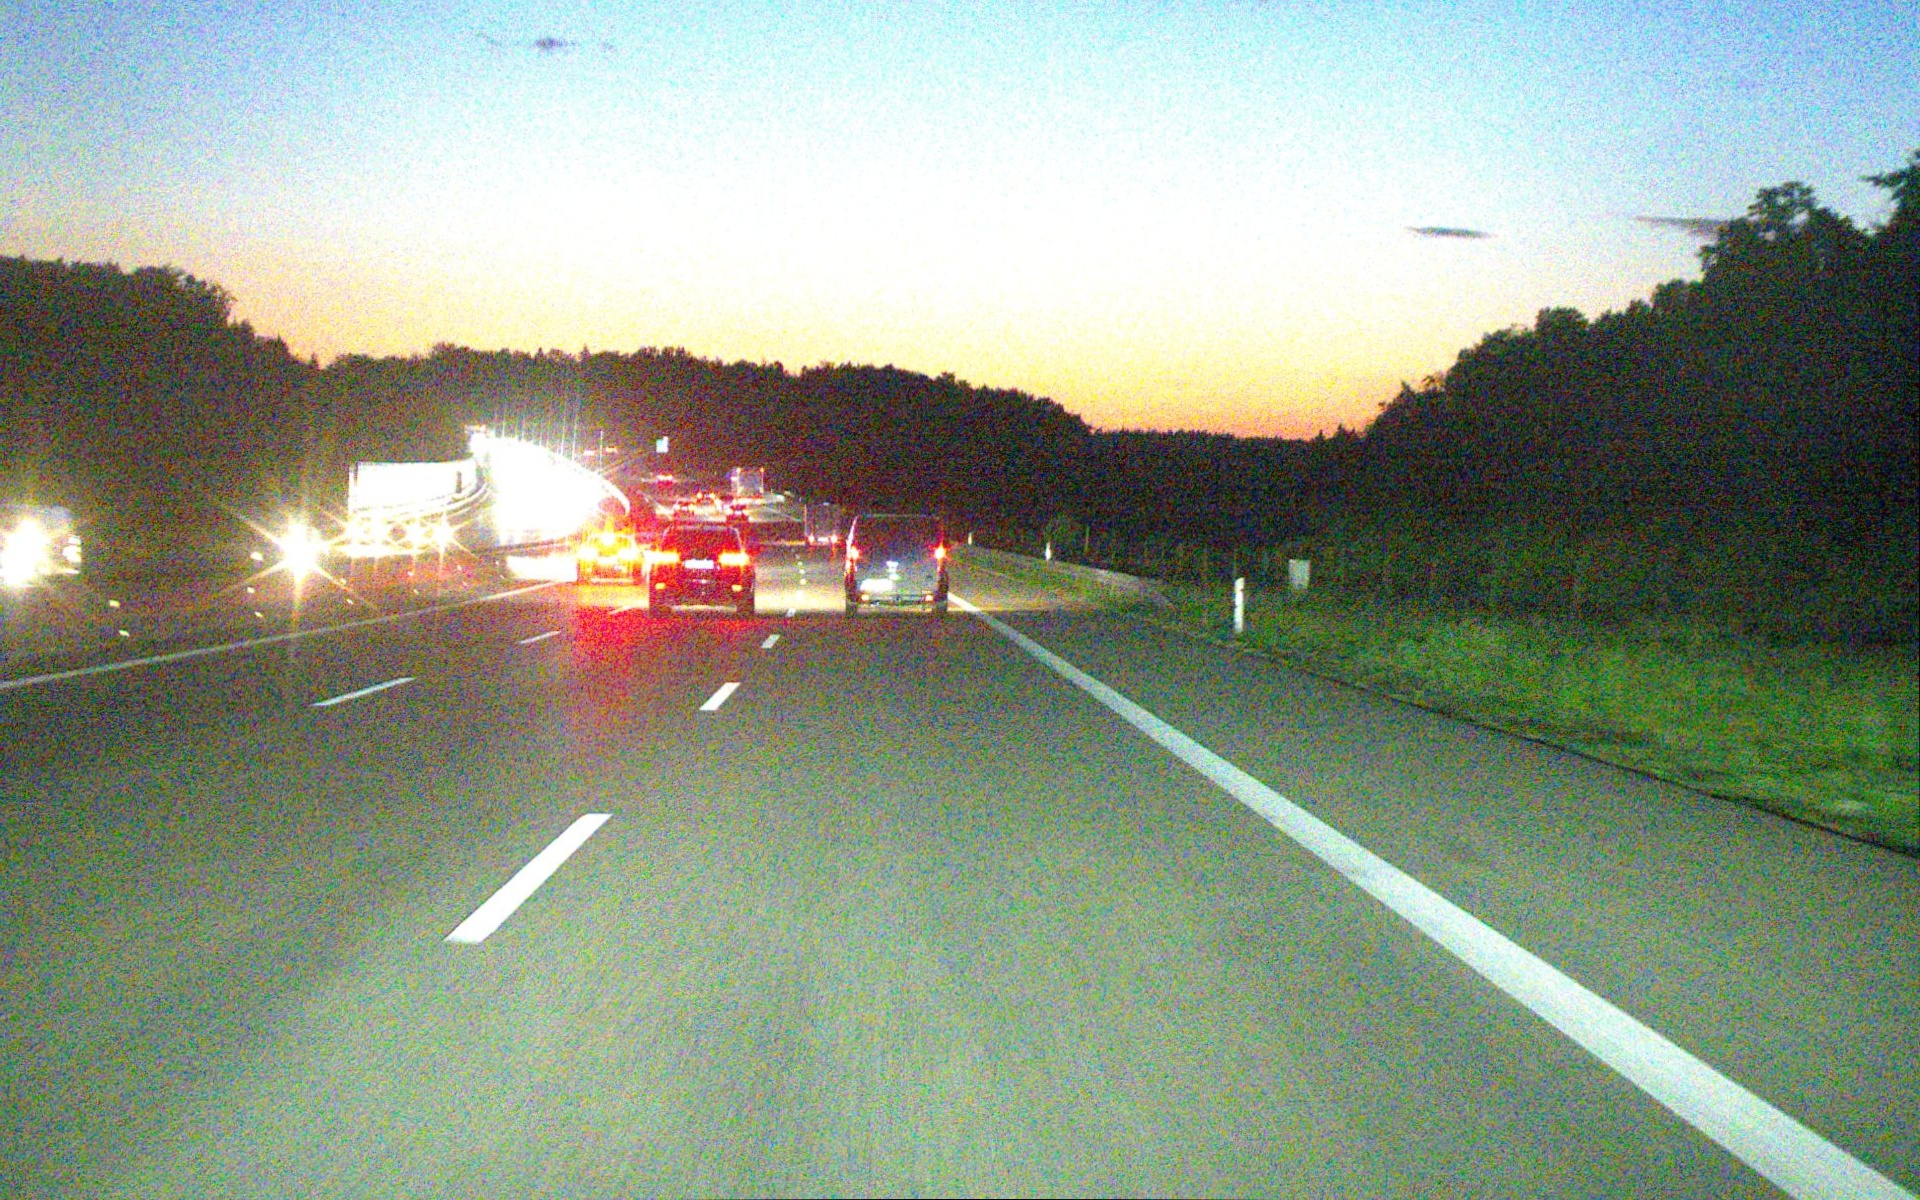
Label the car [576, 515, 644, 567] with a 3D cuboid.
[{"bbox_3d":[-9.928,-1.666,97.760,1.549,1.426,5.515,0,1,-2],"label":"car"}]

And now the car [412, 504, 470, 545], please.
[{"bbox_3d":[-24.457,-3.552,162.264,2.104,1.879,4.659,1,1,-1],"label":"car"}]

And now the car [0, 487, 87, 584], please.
[{"bbox_3d":[-19.257,-1.333,69.757,2.145,1.879,5.425,1,1,-5],"label":"car"}]

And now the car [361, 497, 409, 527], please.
[{"bbox_3d":[-29.245,-4.463,174.979,1.774,1.424,4.659,1,1,-1],"label":"car"}]

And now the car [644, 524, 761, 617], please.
[{"bbox_3d":[-4.937,-0.593,66.665,1.993,1.715,5.943,0,1,-2],"label":"car"}]

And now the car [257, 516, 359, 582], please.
[{"bbox_3d":[-17.917,-1.422,94.692,1.993,1.728,4.659,1,1,-1],"label":"car"}]

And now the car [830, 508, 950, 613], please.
[{"bbox_3d":[-1.408,-0.803,67.322,2.196,1.948,4.764,0,2,-3],"label":"car"}]

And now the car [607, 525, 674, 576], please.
[{"bbox_3d":[-10.511,-1.650,113.458,1.779,1.481,5.254,2,2,-1],"label":"car"}]
